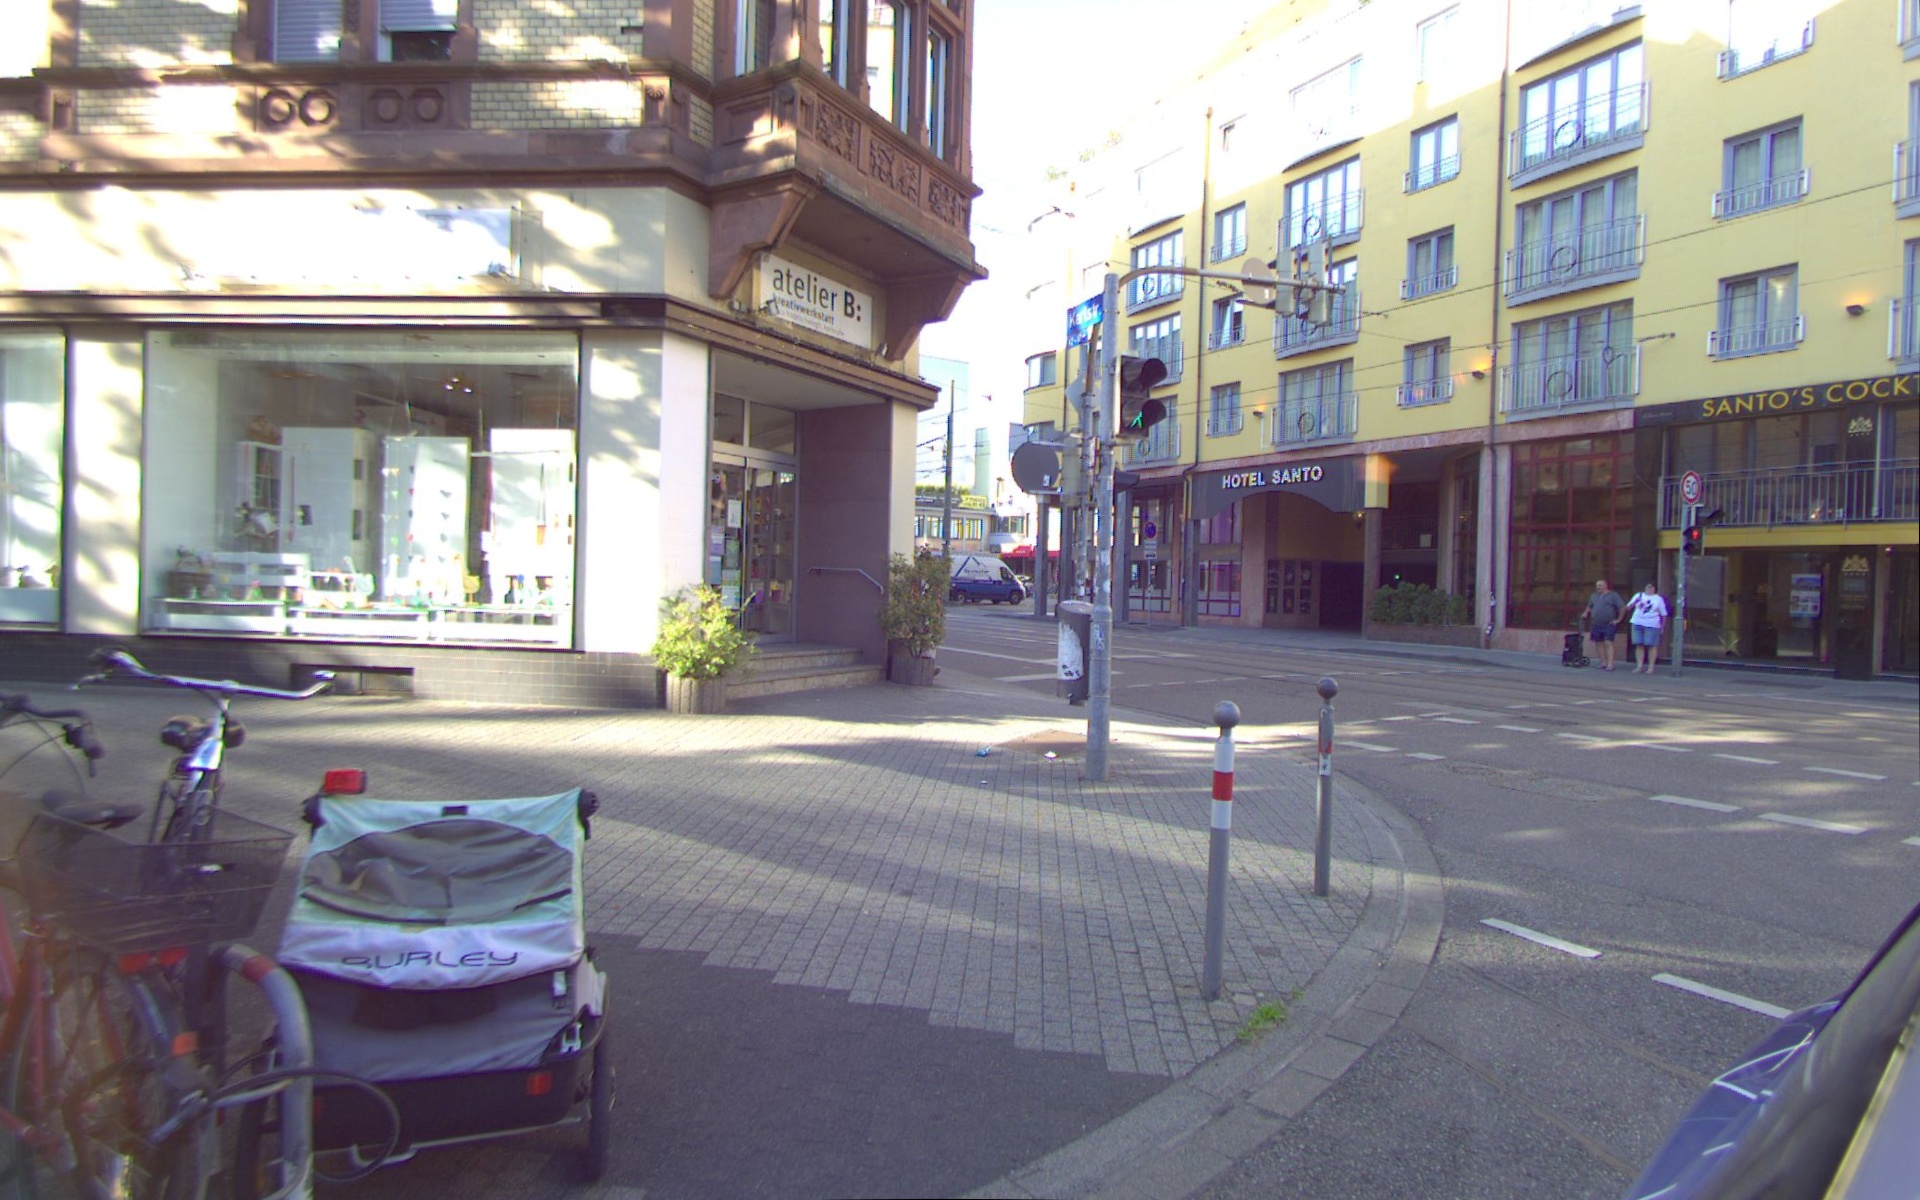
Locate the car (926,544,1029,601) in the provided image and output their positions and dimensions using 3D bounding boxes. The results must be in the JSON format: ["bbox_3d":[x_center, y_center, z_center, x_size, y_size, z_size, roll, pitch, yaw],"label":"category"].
[{"bbox_3d":[0.930,-1.422,53.375,5.044,2.792,2.062,1,1,-29],"label":"car"}]

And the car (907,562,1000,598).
[{"bbox_3d":[-0.360,-1.111,55.874,4.721,1.860,2.063,1,1,-29],"label":"car"}]

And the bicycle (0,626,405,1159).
[{"bbox_3d":[-2.292,0.700,3.004,1.469,1.106,0.567,4,4,37],"label":"bicycle"}]

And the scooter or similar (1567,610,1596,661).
[{"bbox_3d":[12.713,0.723,20.699,0.415,0.989,0.357,-3,3,-32],"label":"scooter or similar"}]

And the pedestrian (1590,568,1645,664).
[{"bbox_3d":[13.233,0.297,20.362,0.712,1.863,0.680,-3,3,-30],"label":"pedestrian"}]

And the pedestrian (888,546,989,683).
[{"bbox_3d":[-0.302,0.171,13.321,0.986,1.701,1.176,1,1,-18],"label":"pedestrian"}]

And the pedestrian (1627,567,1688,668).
[{"bbox_3d":[13.453,0.318,19.515,0.712,1.863,0.736,-3,3,-30],"label":"pedestrian"}]

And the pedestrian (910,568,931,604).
[{"bbox_3d":[-1.884,-0.677,48.486,0.711,1.716,0.690,1,1,-32],"label":"pedestrian"}]

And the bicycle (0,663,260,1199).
[{"bbox_3d":[-2.038,0.771,2.155,1.468,1.106,0.420,4,4,35],"label":"bicycle"}]

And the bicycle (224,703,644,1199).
[{"bbox_3d":[-1.163,0.837,2.466,0.723,1.039,1.002,1,1,-17],"label":"bicycle"}]
